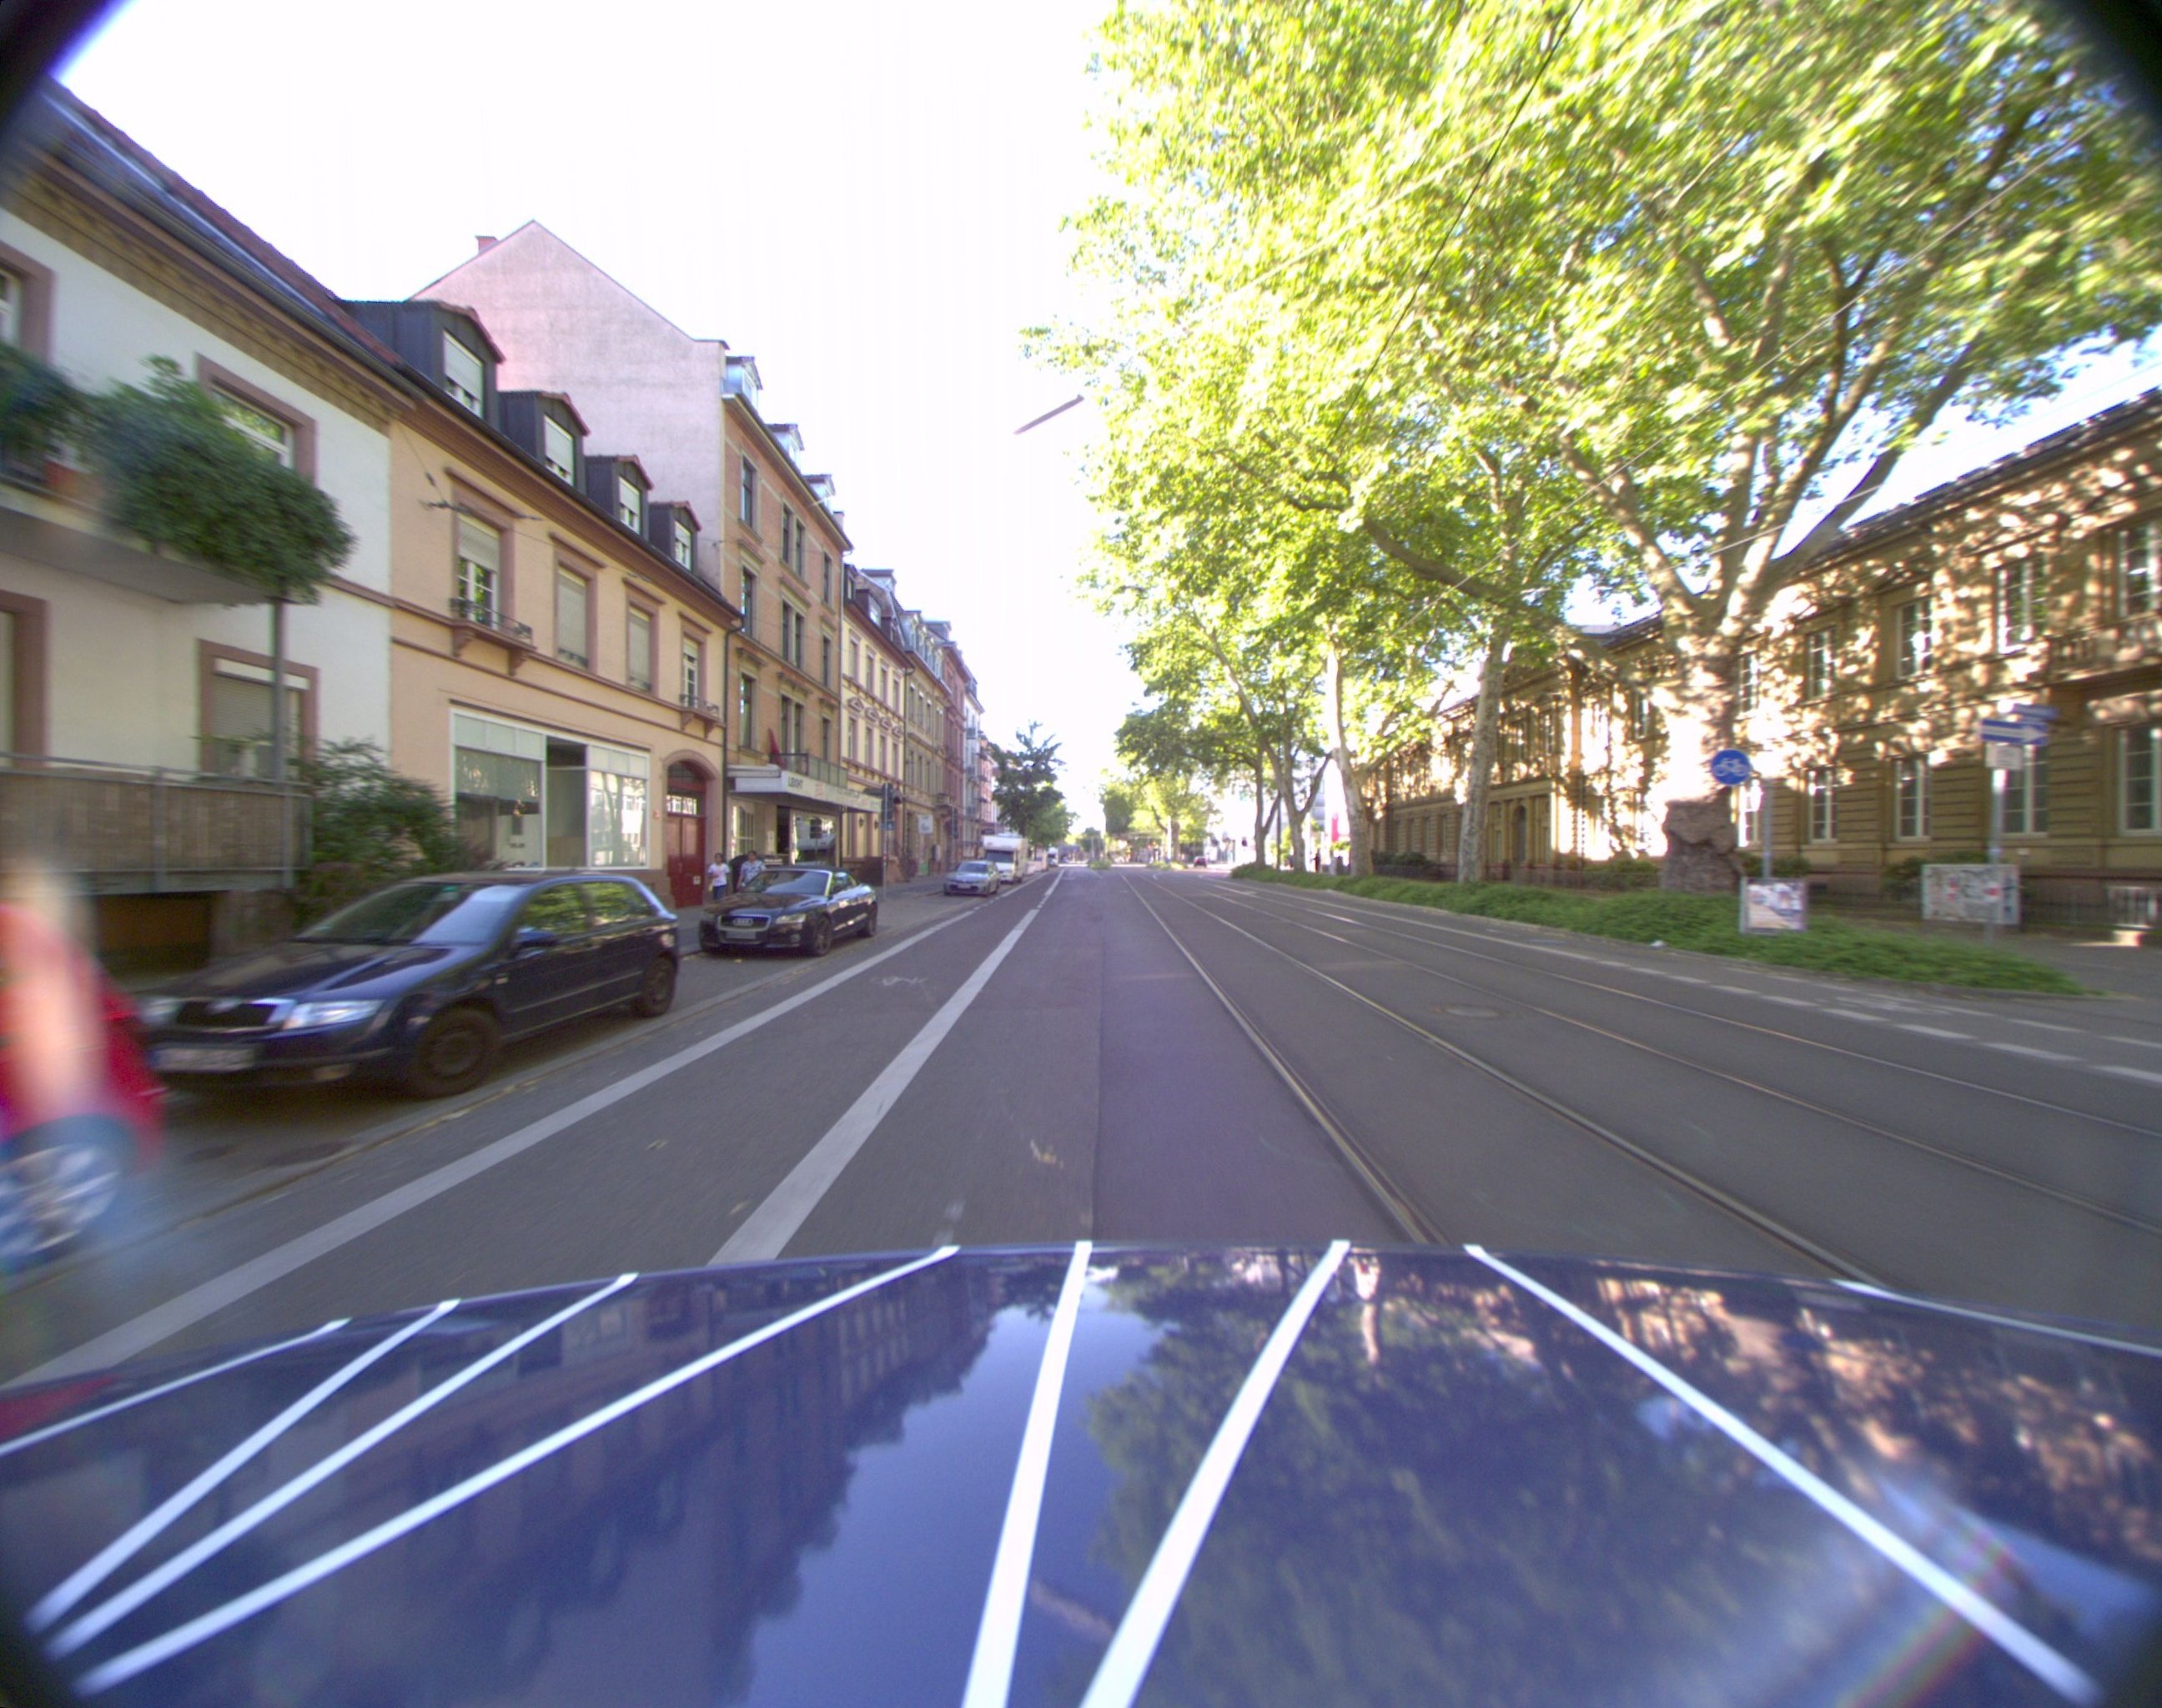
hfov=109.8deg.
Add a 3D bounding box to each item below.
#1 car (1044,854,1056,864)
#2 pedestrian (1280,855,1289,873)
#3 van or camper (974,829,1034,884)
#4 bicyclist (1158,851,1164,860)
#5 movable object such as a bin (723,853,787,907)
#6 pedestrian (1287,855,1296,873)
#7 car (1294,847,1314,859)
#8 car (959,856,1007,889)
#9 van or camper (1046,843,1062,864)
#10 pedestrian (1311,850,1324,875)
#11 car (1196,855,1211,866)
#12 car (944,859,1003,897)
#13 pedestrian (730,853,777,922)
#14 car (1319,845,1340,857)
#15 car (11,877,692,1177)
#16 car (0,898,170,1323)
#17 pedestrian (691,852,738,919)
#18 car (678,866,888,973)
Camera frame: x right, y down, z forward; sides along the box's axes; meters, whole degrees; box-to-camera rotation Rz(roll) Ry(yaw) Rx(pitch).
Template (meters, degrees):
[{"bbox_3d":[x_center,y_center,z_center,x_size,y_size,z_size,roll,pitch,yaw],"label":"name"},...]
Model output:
[{"bbox_3d":[-4.461,0.729,110.768,1.656,1.439,3.800,1,0,-1],"label":"car"},{"bbox_3d":[19.131,0.908,71.374,0.636,1.687,0.656,0,1,-6],"label":"pedestrian"},{"bbox_3d":[-4.599,0.109,46.896,2.483,2.955,7.884,4,0,2],"label":"van or camper"},{"bbox_3d":[14.320,0.254,136.373,1.007,1.567,0.760,0,1,0],"label":"bicyclist"},{"bbox_3d":[-9.451,0.740,22.089,1.296,1.511,1.286,0,1,1],"label":"movable object such as a bin"},{"bbox_3d":[19.800,0.924,71.462,0.673,1.687,0.661,0,1,-6],"label":"pedestrian"},{"bbox_3d":[33.613,-0.115,114.671,1.852,1.807,4.000,0,0,1],"label":"car"},{"bbox_3d":[-4.830,0.900,37.824,1.649,1.426,4.029,4,0,2],"label":"car"},{"bbox_3d":[-4.283,-0.092,120.978,2.173,3.074,7.290,1,0,1],"label":"van or camper"},{"bbox_3d":[17.581,0.653,56.483,0.721,1.839,0.837,0,1,2],"label":"pedestrian"},{"bbox_3d":[18.931,0.999,117.448,1.870,1.620,4.562,1,0,5],"label":"car"},{"bbox_3d":[-4.518,0.957,32.511,1.814,1.426,4.664,1,0,0],"label":"car"},{"bbox_3d":[-7.363,0.742,17.124,0.662,1.496,0.866,1,1,0],"label":"pedestrian"},{"bbox_3d":[37.252,-0.479,114.089,1.852,1.742,4.000,0,0,1],"label":"car"},{"bbox_3d":[-4.952,0.995,6.050,1.655,1.448,3.868,1,0,1],"label":"car"},{"bbox_3d":[-4.879,0.968,1.571,1.638,1.537,3.576,1,0,2],"label":"car"},{"bbox_3d":[-8.237,0.695,17.101,0.659,1.474,0.785,0,1,0],"label":"pedestrian"},{"bbox_3d":[-4.831,0.970,13.103,1.698,1.384,4.495,1,0,2],"label":"car"}]
